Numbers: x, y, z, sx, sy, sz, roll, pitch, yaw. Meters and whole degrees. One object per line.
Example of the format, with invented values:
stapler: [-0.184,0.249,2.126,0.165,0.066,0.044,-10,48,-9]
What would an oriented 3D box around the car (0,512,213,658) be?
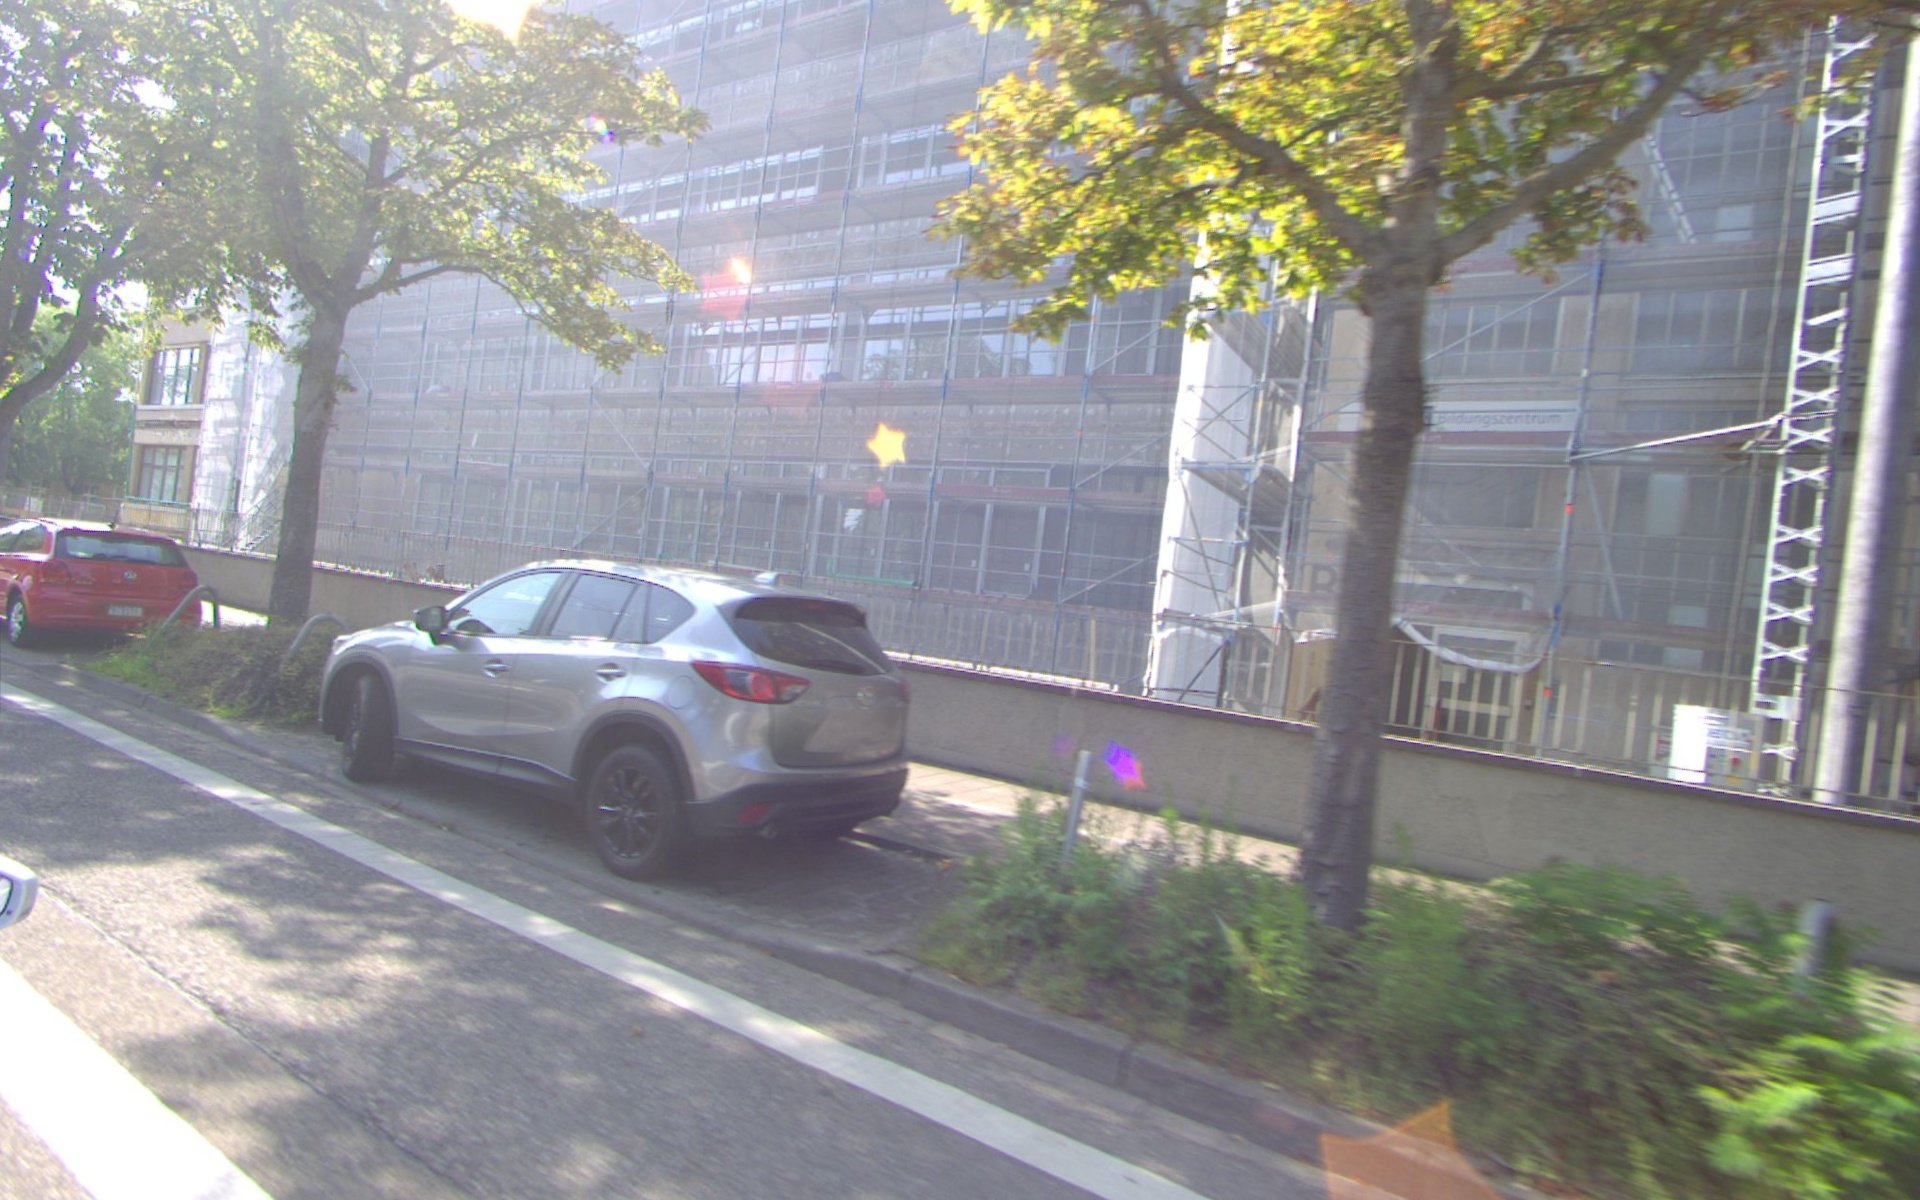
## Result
car: [-11.077,-0.264,12.415,3.935,1.430,1.618,6,-1,33]

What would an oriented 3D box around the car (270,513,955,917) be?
car: [-2.418,0.539,6.666,4.322,1.711,1.757,7,-2,31]
